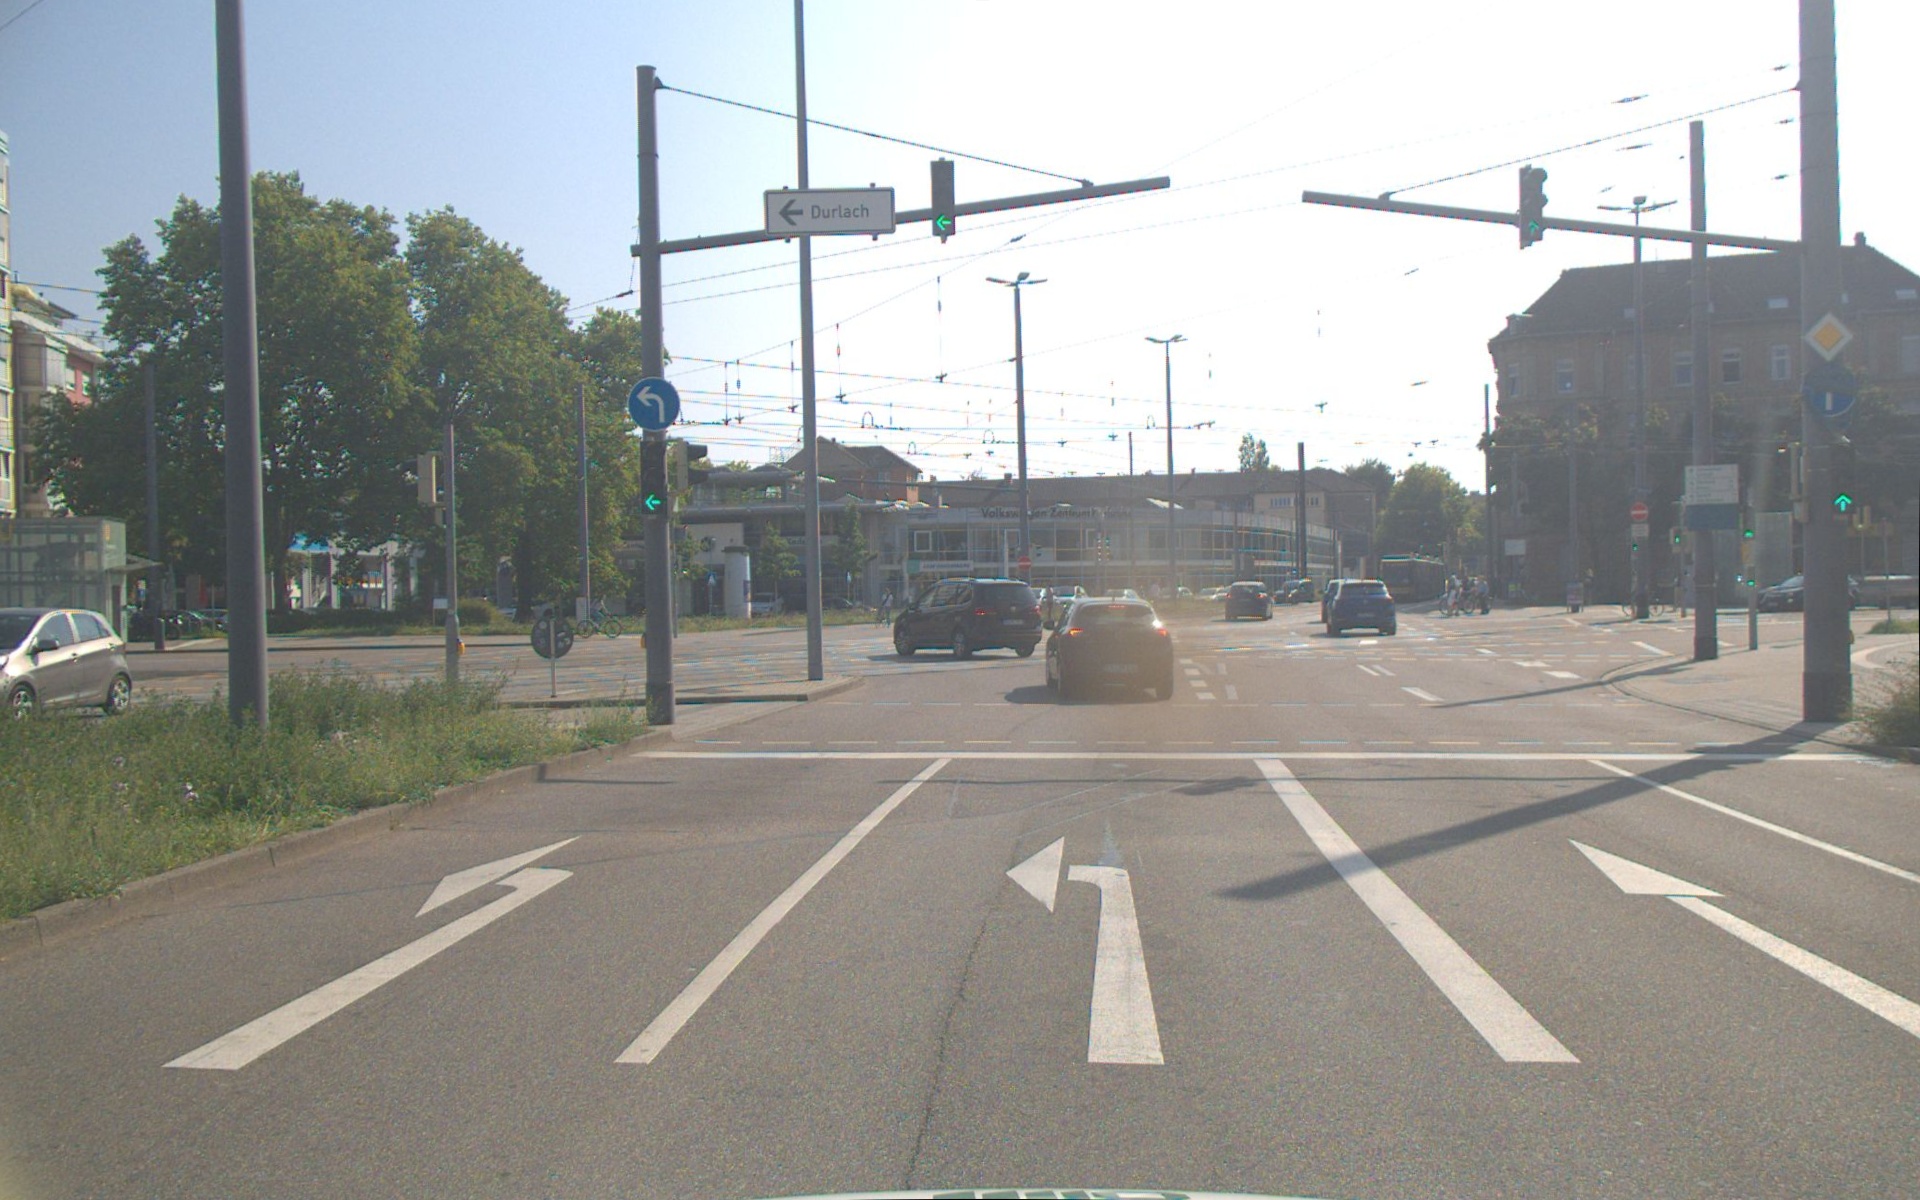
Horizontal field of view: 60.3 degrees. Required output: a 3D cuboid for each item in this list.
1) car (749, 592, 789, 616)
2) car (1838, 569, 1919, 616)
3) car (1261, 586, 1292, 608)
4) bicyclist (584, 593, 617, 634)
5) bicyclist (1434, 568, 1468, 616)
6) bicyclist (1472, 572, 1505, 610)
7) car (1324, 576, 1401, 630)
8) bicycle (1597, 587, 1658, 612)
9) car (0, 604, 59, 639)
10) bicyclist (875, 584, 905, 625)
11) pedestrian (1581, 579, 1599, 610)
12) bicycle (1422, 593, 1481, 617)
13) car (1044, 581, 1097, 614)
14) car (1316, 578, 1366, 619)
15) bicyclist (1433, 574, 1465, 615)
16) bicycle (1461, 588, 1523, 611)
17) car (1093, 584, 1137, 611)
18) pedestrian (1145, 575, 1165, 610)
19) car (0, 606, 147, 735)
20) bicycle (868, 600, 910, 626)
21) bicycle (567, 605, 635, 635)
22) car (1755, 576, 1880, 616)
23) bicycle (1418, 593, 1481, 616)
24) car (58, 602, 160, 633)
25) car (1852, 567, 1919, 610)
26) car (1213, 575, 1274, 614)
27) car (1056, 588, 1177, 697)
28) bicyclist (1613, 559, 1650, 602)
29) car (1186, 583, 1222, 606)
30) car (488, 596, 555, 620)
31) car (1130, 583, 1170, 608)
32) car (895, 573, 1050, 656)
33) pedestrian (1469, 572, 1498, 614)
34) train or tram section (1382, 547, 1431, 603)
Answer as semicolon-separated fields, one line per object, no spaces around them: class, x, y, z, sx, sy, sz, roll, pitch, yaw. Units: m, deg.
car;-13.013;0.246;113.006;1.663;1.549;4.103;-1;0;8
car;39.067;-0.327;68.913;4.628;1.891;1.898;-1;0;-22
car;23.981;-0.227;125.257;1.581;1.501;4.001;-3;0;20
bicyclist;-14.036;0.511;64.586;1.142;1.554;0.958;-2;0;-11
bicyclist;21.475;-0.344;72.342;0.925;2.059;1.081;-1;0;-33
bicyclist;24.260;-0.397;75.933;0.920;1.709;1.087;-1;0;-19
car;11.590;0.044;47.845;1.786;1.453;4.416;-1;1;9
bicycle;27.654;-0.033;68.514;2.594;0.981;1.080;-1;0;-33
car;-38.645;0.874;66.354;4.087;1.378;1.476;-1;0;-15
bicyclist;-3.135;0.205;73.706;0.938;1.779;1.166;-1;0;20
pedestrian;30.436;-0.255;79.884;0.662;1.496;0.539;-1;0;-40
bicycle;21.524;0.209;72.366;2.594;0.981;1.081;-2;1;-33
car;5.454;-0.134;81.204;1.580;1.501;4.002;-3;0;19
car;14.766;-0.080;64.242;1.786;1.453;4.416;-1;1;12
bicyclist;22.052;-0.246;74.598;0.920;1.831;1.087;-1;0;-19
bicycle;24.444;-0.027;76.007;2.579;0.981;1.087;-1;1;-20
car;9.196;-0.152;97.907;1.581;1.501;4.001;-3;0;20
pedestrian;8.603;-0.322;73.005;0.761;1.529;0.711;-1;0;17
car;-12.253;0.857;21.185;1.850;1.477;3.675;-1;0;0
bicycle;-3.144;0.571;73.675;0.938;1.075;2.609;-1;0;20
bicycle;-14.004;0.767;64.597;2.553;1.075;0.958;-1;0;-11
car;32.800;-0.161;63.273;4.316;1.421;2.009;-1;0;-24
bicycle;22.074;0.182;74.608;2.579;0.981;1.087;-1;1;-20
car;-40.868;0.840;79.539;4.087;1.378;1.572;-1;0;-15
car;43.476;-0.537;76.025;4.187;1.891;1.925;-1;0;-14
car;12.124;-0.265;70.570;1.788;1.562;4.413;-1;1;20
car;2.346;0.588;25.678;1.647;1.518;4.374;1;0;3
bicyclist;27.905;-0.811;68.688;0.925;1.738;1.081;-1;0;-33
car;16.558;-0.385;111.917;1.581;1.501;4.001;-3;0;20
car;-30.607;0.545;115.458;1.670;1.549;4.499;-1;0;35
car;12.106;-0.295;105.008;1.581;1.501;4.001;-3;0;20
car;0.215;0.295;37.679;1.803;1.744;4.376;-1;1;-26
pedestrian;23.244;-0.295;73.464;0.918;1.828;0.849;-1;0;-37
train or tram section;31.976;-1.820;118.214;2.599;3.763;10.593;-1;1;19
